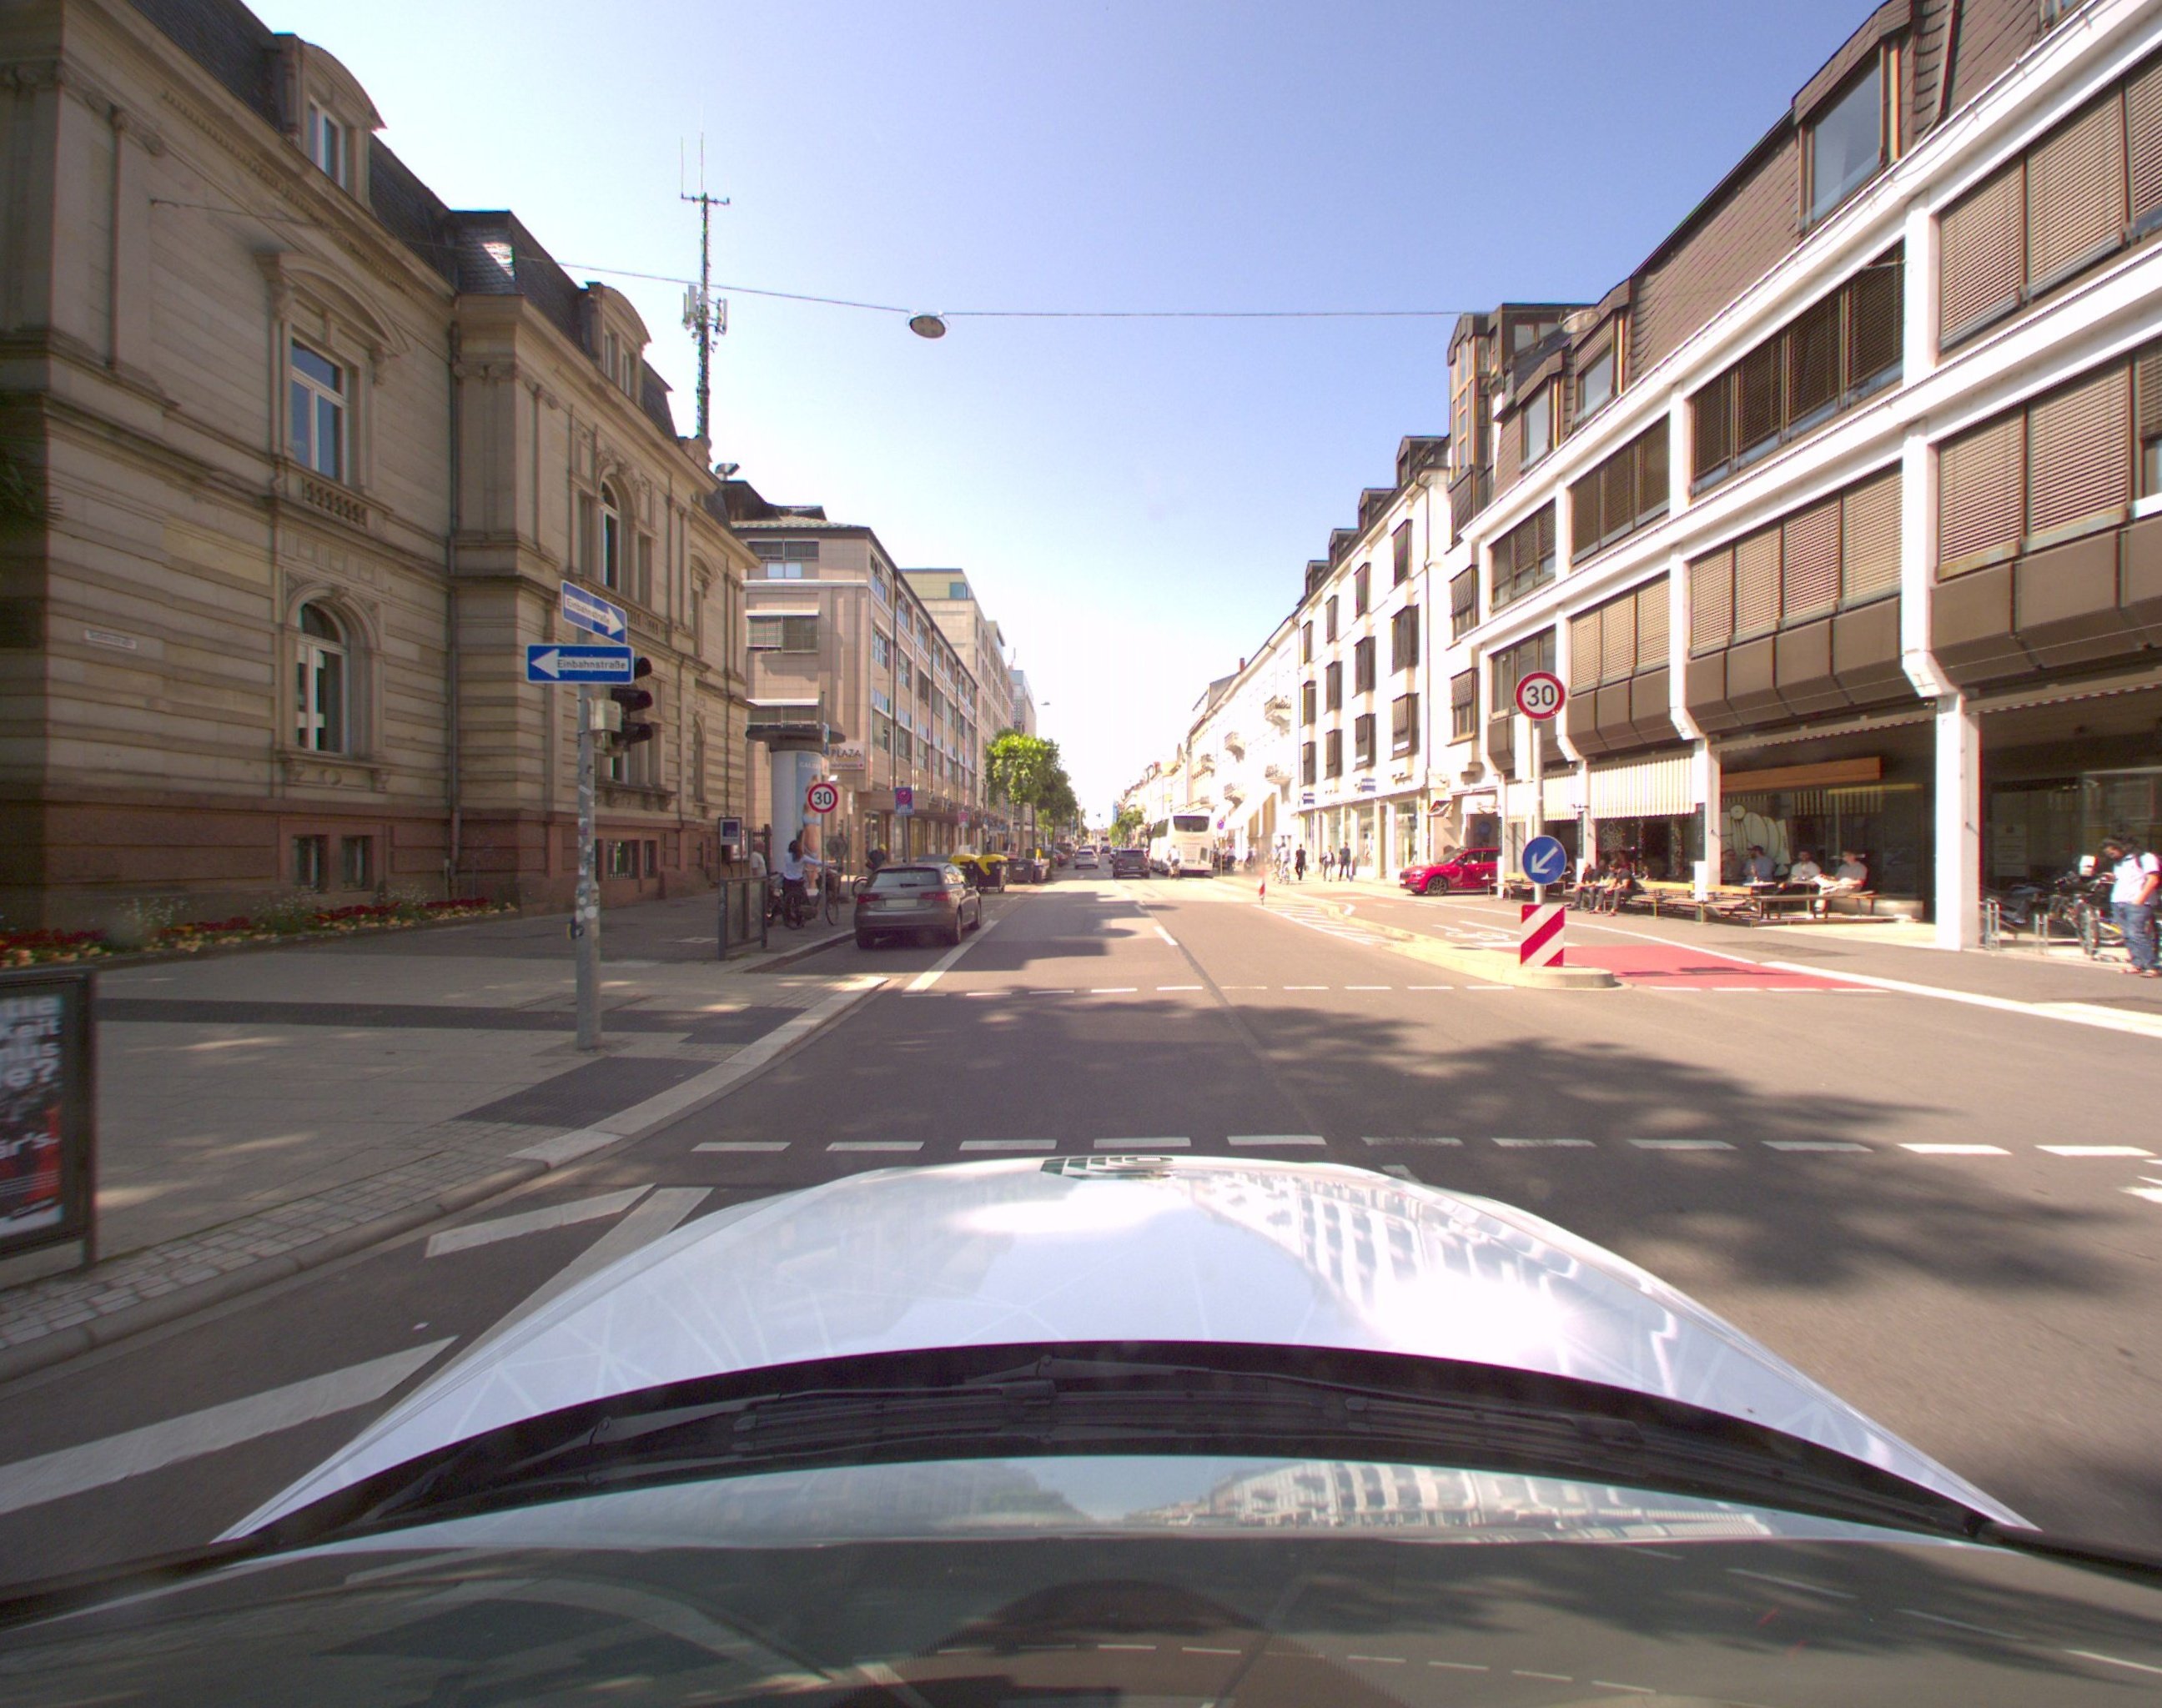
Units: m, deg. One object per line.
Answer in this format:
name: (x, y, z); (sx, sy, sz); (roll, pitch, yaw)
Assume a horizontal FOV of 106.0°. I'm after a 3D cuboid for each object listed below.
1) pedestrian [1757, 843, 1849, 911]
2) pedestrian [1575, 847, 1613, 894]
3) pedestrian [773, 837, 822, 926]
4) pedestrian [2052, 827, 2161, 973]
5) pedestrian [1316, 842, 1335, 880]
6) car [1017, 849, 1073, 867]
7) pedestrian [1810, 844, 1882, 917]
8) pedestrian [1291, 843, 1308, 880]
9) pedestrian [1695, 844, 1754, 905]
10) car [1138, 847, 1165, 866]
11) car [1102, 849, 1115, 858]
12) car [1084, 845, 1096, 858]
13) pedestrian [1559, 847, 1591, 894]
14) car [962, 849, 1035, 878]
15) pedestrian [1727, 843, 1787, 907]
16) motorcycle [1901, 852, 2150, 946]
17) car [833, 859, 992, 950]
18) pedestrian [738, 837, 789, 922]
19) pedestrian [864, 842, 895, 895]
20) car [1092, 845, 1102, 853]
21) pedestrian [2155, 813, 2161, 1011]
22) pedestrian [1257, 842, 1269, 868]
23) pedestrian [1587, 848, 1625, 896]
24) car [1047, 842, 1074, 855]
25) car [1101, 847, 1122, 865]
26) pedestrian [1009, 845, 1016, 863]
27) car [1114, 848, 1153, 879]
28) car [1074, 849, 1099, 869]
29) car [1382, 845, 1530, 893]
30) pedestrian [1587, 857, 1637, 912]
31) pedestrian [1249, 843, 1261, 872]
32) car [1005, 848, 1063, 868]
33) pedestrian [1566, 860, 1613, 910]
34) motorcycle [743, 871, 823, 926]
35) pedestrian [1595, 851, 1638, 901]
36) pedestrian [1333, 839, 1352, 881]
pedestrian: (14.900, 0.463, 16.847); (0.893, 1.351, 1.105); (0, -1, -1)
pedestrian: (14.939, 0.470, 23.712); (0.742, 1.367, 0.584); (0, 0, -1)
pedestrian: (-5.535, 0.524, 15.914); (0.691, 1.695, 0.691); (-1, -1, 3)
pedestrian: (12.367, 0.534, 9.648); (0.828, 1.663, 0.698); (-1, -1, 9)
pedestrian: (11.131, 0.303, 37.130); (0.690, 1.685, 0.837); (-1, 0, 9)
car: (-3.077, 0.316, 69.360); (4.736, 1.422, 1.895); (2, 2, 40)
pedestrian: (14.909, 0.514, 15.885); (0.709, 1.396, 0.696); (0, -1, -1)
pedestrian: (10.382, 0.371, 38.707); (0.617, 1.720, 0.836); (0, -1, 3)
pedestrian: (14.864, 0.466, 18.835); (0.811, 1.396, 0.696); (0, -1, -2)
car: (6.198, 0.212, 72.221); (1.808, 1.466, 4.577); (1, 1, -2)
car: (4.147, -0.079, 124.693); (1.857, 1.441, 4.000); (-1, 1, 0)
car: (1.365, -0.366, 123.896); (1.857, 2.030, 3.999); (0, -1, 0)
pedestrian: (14.478, 0.468, 23.868); (0.533, 1.367, 0.689); (0, 0, 1)
car: (-4.781, 0.497, 46.802); (4.007, 1.494, 1.947); (2, 2, 41)
pedestrian: (14.923, 0.463, 17.993); (0.709, 1.396, 0.696); (0, -1, -1)
motorcycle: (13.970, 0.637, 12.176); (2.215, 1.290, 0.954); (-1, -1, 28)
car: (-2.944, 0.821, 15.218); (1.929, 1.354, 4.252); (-1, 1, 2)
pedestrian: (-6.416, 0.505, 16.482); (0.546, 1.665, 0.939); (-1, -1, 9)
pedestrian: (-6.636, 0.476, 26.808); (0.888, 1.725, 0.747); (0, 0, -6)
car: (3.201, -1.036, 163.281); (1.857, 1.441, 3.999); (-1, -1, 0)
pedestrian: (10.395, 0.533, 7.189); (0.828, 1.836, 0.698); (-1, -1, 9)
pedestrian: (11.603, 0.081, 51.941); (0.642, 1.617, 0.822); (-1, -1, 3)
pedestrian: (14.930, 0.503, 23.173); (0.758, 1.367, 0.478); (0, 0, -1)
car: (-3.680, -1.031, 144.292); (4.665, 2.003, 1.953); (4, 0, 40)
car: (2.797, 0.227, 75.961); (1.827, 1.527, 3.999); (-2, -1, 0)
pedestrian: (-6.385, 0.028, 75.810); (0.565, 1.657, 0.635); (0, 0, -7)
car: (2.718, 0.476, 43.043); (1.827, 1.527, 3.999); (0, 0, 0)
car: (0.422, 0.397, 62.728); (1.857, 1.441, 3.999); (-1, 1, -1)
car: (12.301, 0.502, 26.888); (4.029, 1.495, 1.842); (-1, -2, 2)
pedestrian: (12.024, 0.694, 18.470); (0.707, 1.217, 0.698); (-1, -1, 9)
pedestrian: (10.951, 0.209, 51.157); (0.571, 1.778, 1.021); (-1, -1, 3)
car: (-3.869, 0.300, 66.382); (4.698, 1.533, 2.002); (1, 1, 43)
pedestrian: (12.063, 0.731, 19.327); (0.707, 1.173, 0.698); (-1, -1, 9)
motorcycle: (-5.972, 0.855, 16.460); (0.451, 0.998, 2.166); (1, 0, 10)
pedestrian: (14.924, 0.595, 22.709); (0.874, 1.367, 0.537); (0, 0, -1)
pedestrian: (11.817, 0.264, 36.804); (0.690, 1.851, 0.837); (-1, -1, 9)
